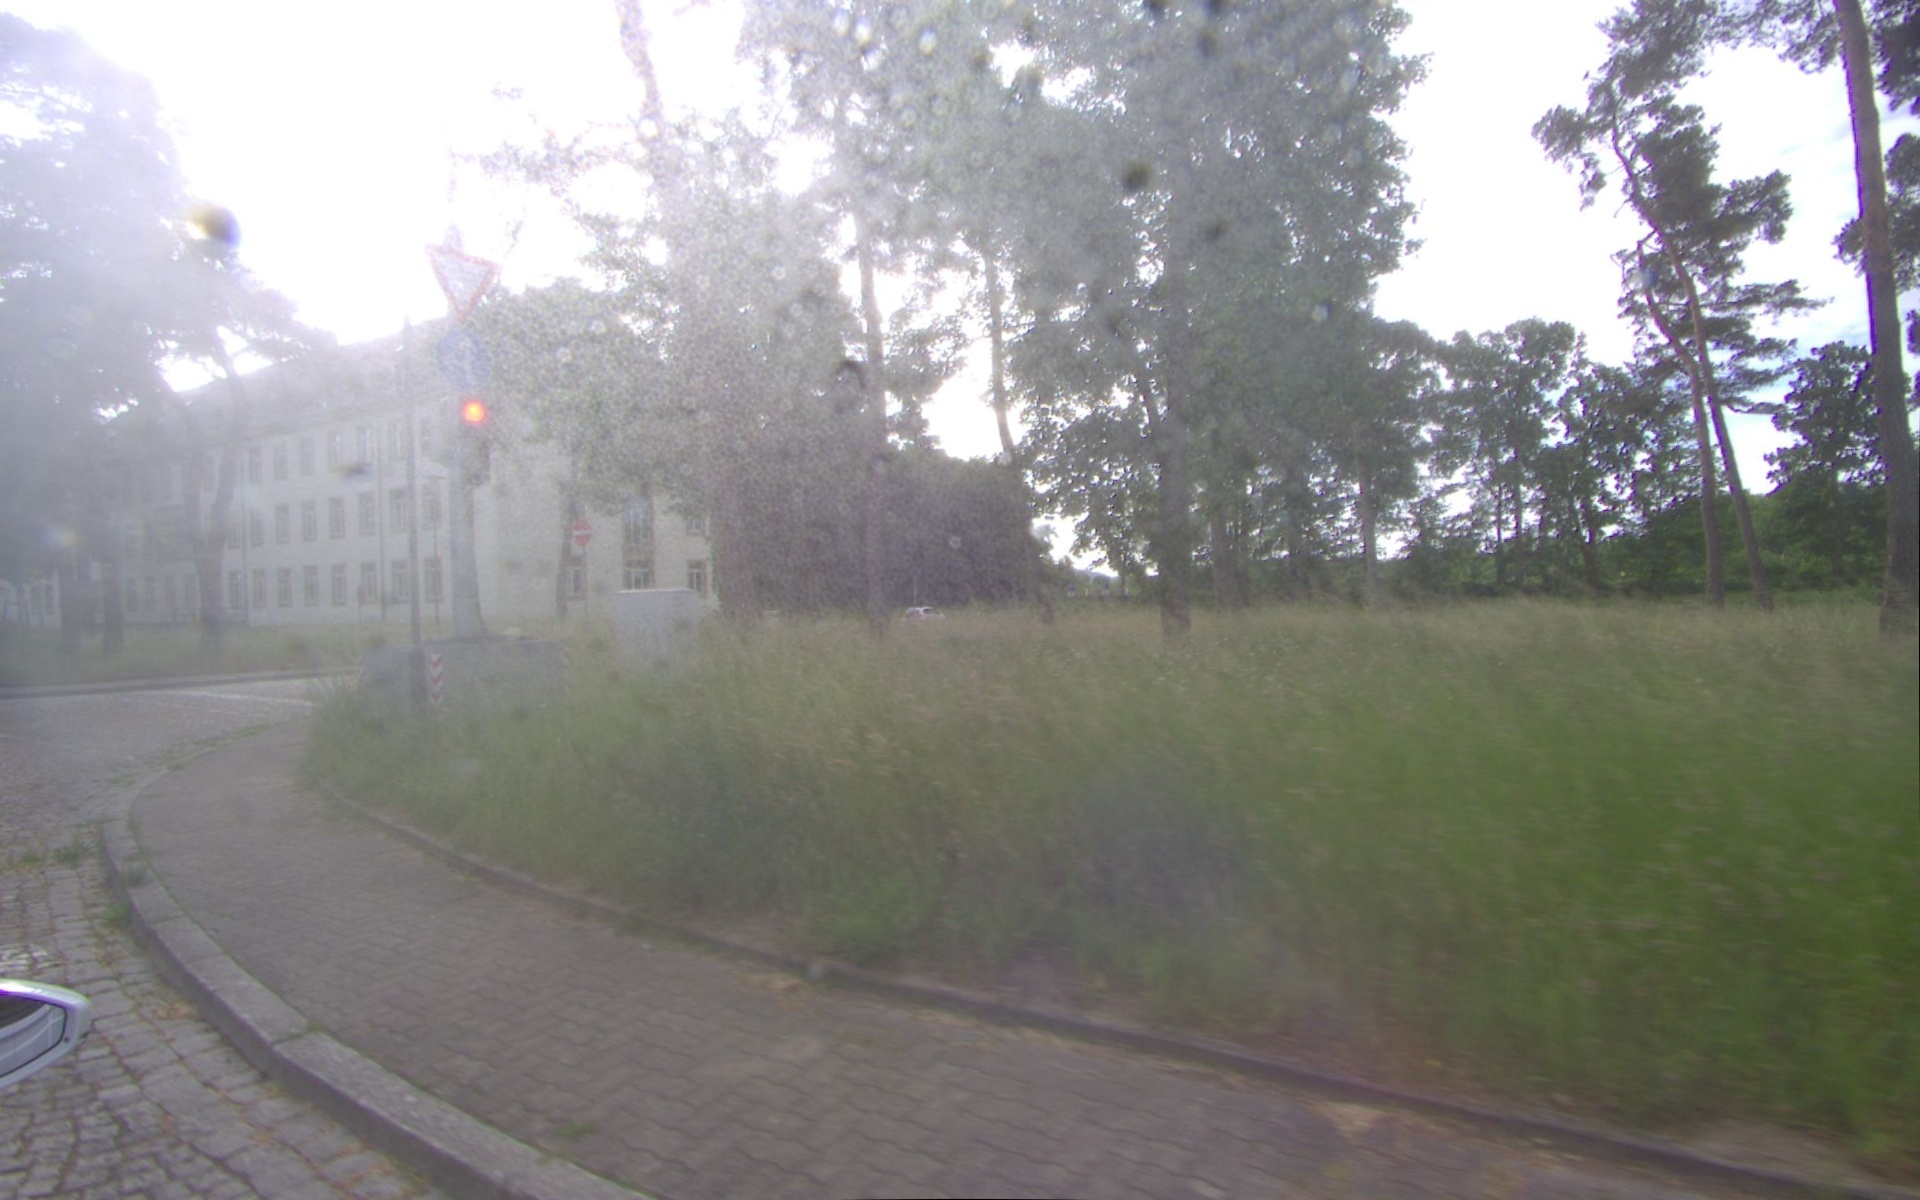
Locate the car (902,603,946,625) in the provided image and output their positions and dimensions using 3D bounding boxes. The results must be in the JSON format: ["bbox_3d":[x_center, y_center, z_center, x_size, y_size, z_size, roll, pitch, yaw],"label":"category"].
[{"bbox_3d":[-2.396,0.972,67.752,1.467,1.455,3.179,-1,-1,32],"label":"car"}]
